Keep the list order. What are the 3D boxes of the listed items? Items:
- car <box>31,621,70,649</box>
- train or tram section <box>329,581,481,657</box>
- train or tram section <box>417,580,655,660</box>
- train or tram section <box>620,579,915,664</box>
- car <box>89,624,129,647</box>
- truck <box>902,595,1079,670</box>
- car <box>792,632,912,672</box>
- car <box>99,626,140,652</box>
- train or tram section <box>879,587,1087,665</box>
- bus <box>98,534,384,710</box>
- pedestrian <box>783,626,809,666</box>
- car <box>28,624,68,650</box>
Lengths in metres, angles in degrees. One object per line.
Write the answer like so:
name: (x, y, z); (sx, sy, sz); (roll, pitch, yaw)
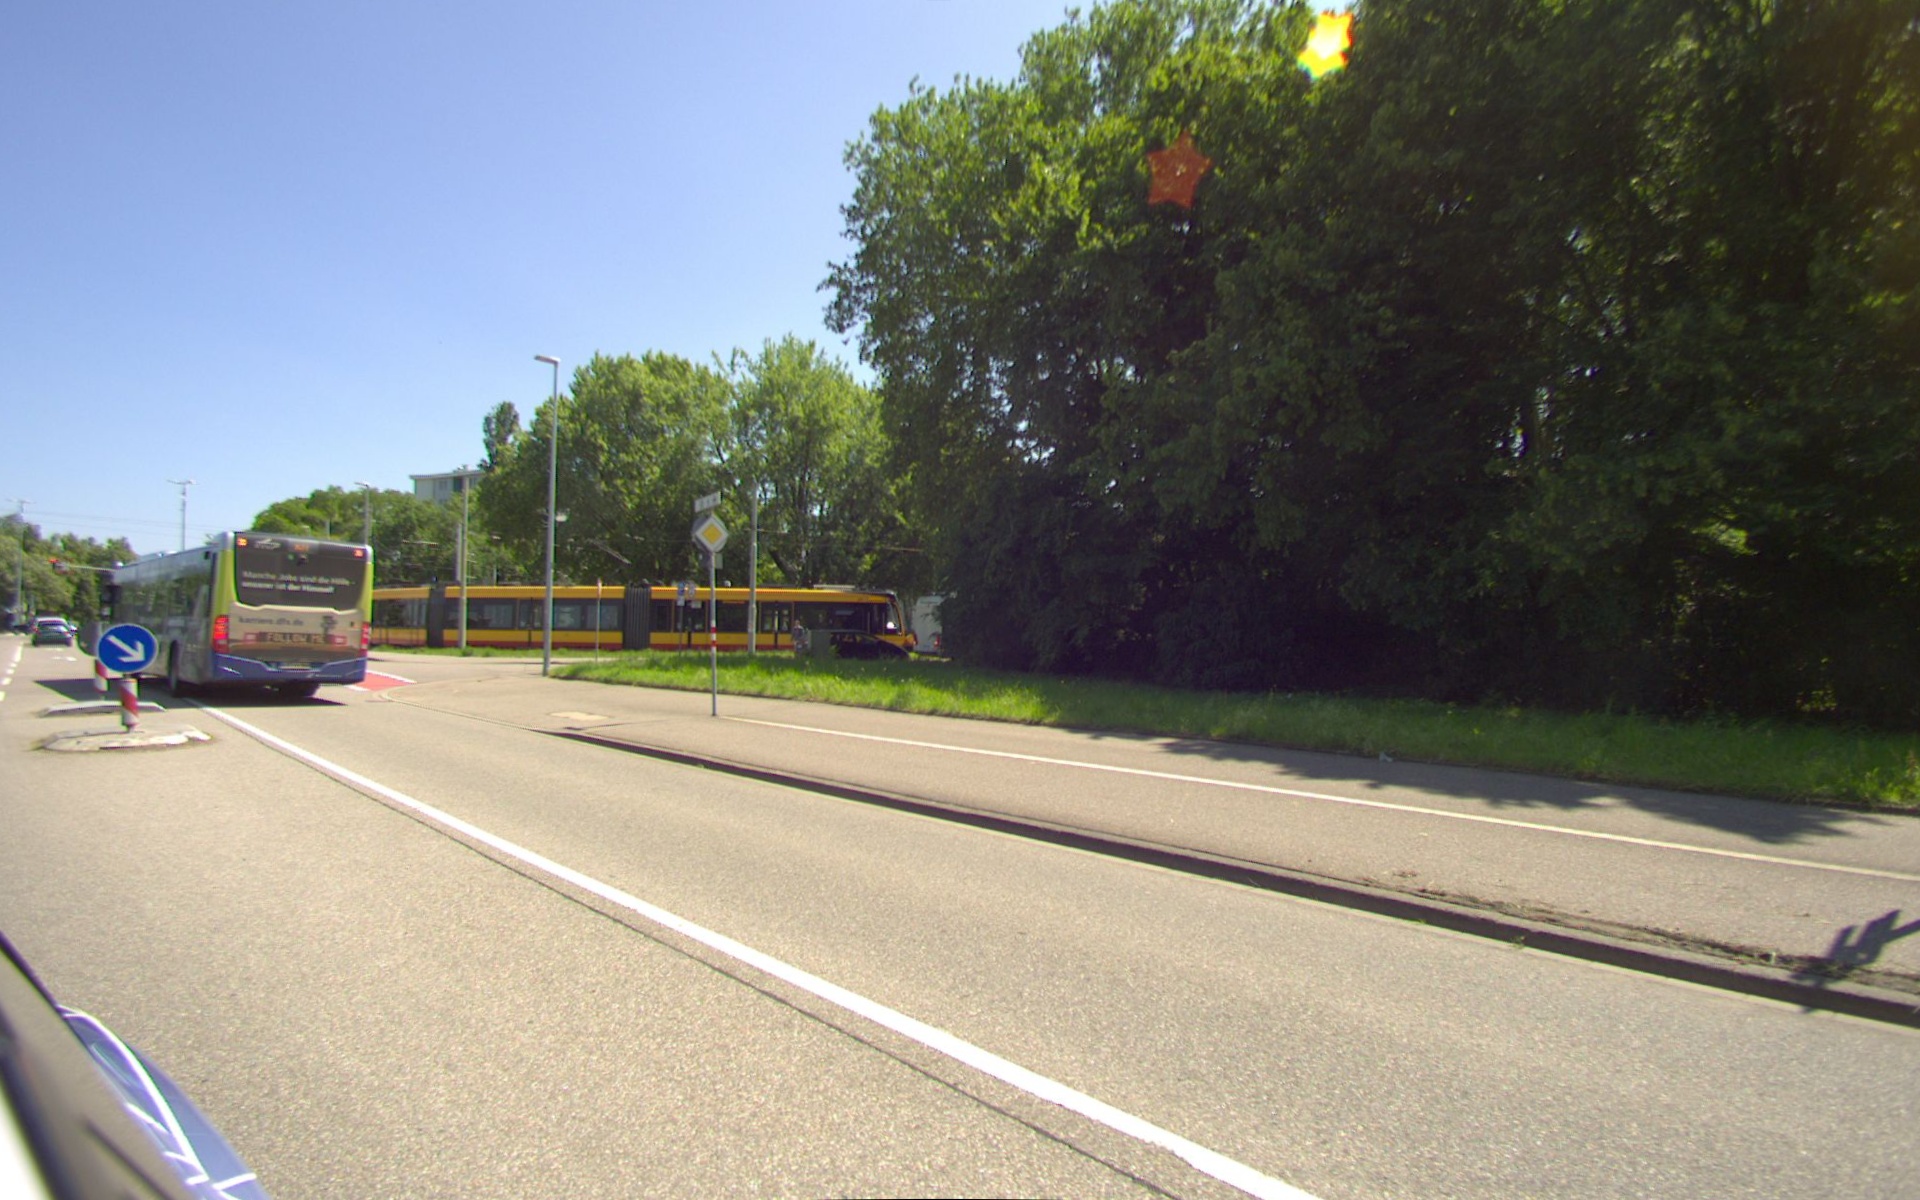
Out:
car: (-58.708, 2.236, 65.283); (1.790, 1.736, 4.836); (1, -2, -43)
train or tram section: (-31.018, 1.144, 56.173); (12.987, 3.788, 2.984); (-2, -4, 41)
train or tram section: (-21.174, 1.011, 50.592); (11.510, 3.788, 3.011); (0, -3, 16)
train or tram section: (-9.345, 1.151, 50.078); (13.819, 3.788, 3.032); (2, -3, -10)
car: (-55.622, 2.331, 66.135); (1.739, 1.468, 4.289); (2, -3, -44)
truck: (1.360, 1.368, 42.520); (7.218, 2.932, 2.575); (2, -2, -33)
car: (-4.095, 1.971, 38.588); (4.241, 1.428, 1.671); (2, -1, -34)
car: (-49.899, 2.307, 60.075); (1.602, 1.467, 3.505); (4, -4, -43)
train or tram section: (1.699, 1.640, 55.743); (3.026, 3.788, 13.993); (-2, -4, 42)
bus: (-16.507, 0.554, 22.655); (11.938, 3.068, 2.719); (-1, -4, 43)
pedestrian: (-7.096, 1.979, 43.763); (0.855, 1.723, 0.798); (-2, -3, 44)
car: (-53.752, 2.175, 59.667); (1.702, 1.474, 3.994); (1, -2, -42)
